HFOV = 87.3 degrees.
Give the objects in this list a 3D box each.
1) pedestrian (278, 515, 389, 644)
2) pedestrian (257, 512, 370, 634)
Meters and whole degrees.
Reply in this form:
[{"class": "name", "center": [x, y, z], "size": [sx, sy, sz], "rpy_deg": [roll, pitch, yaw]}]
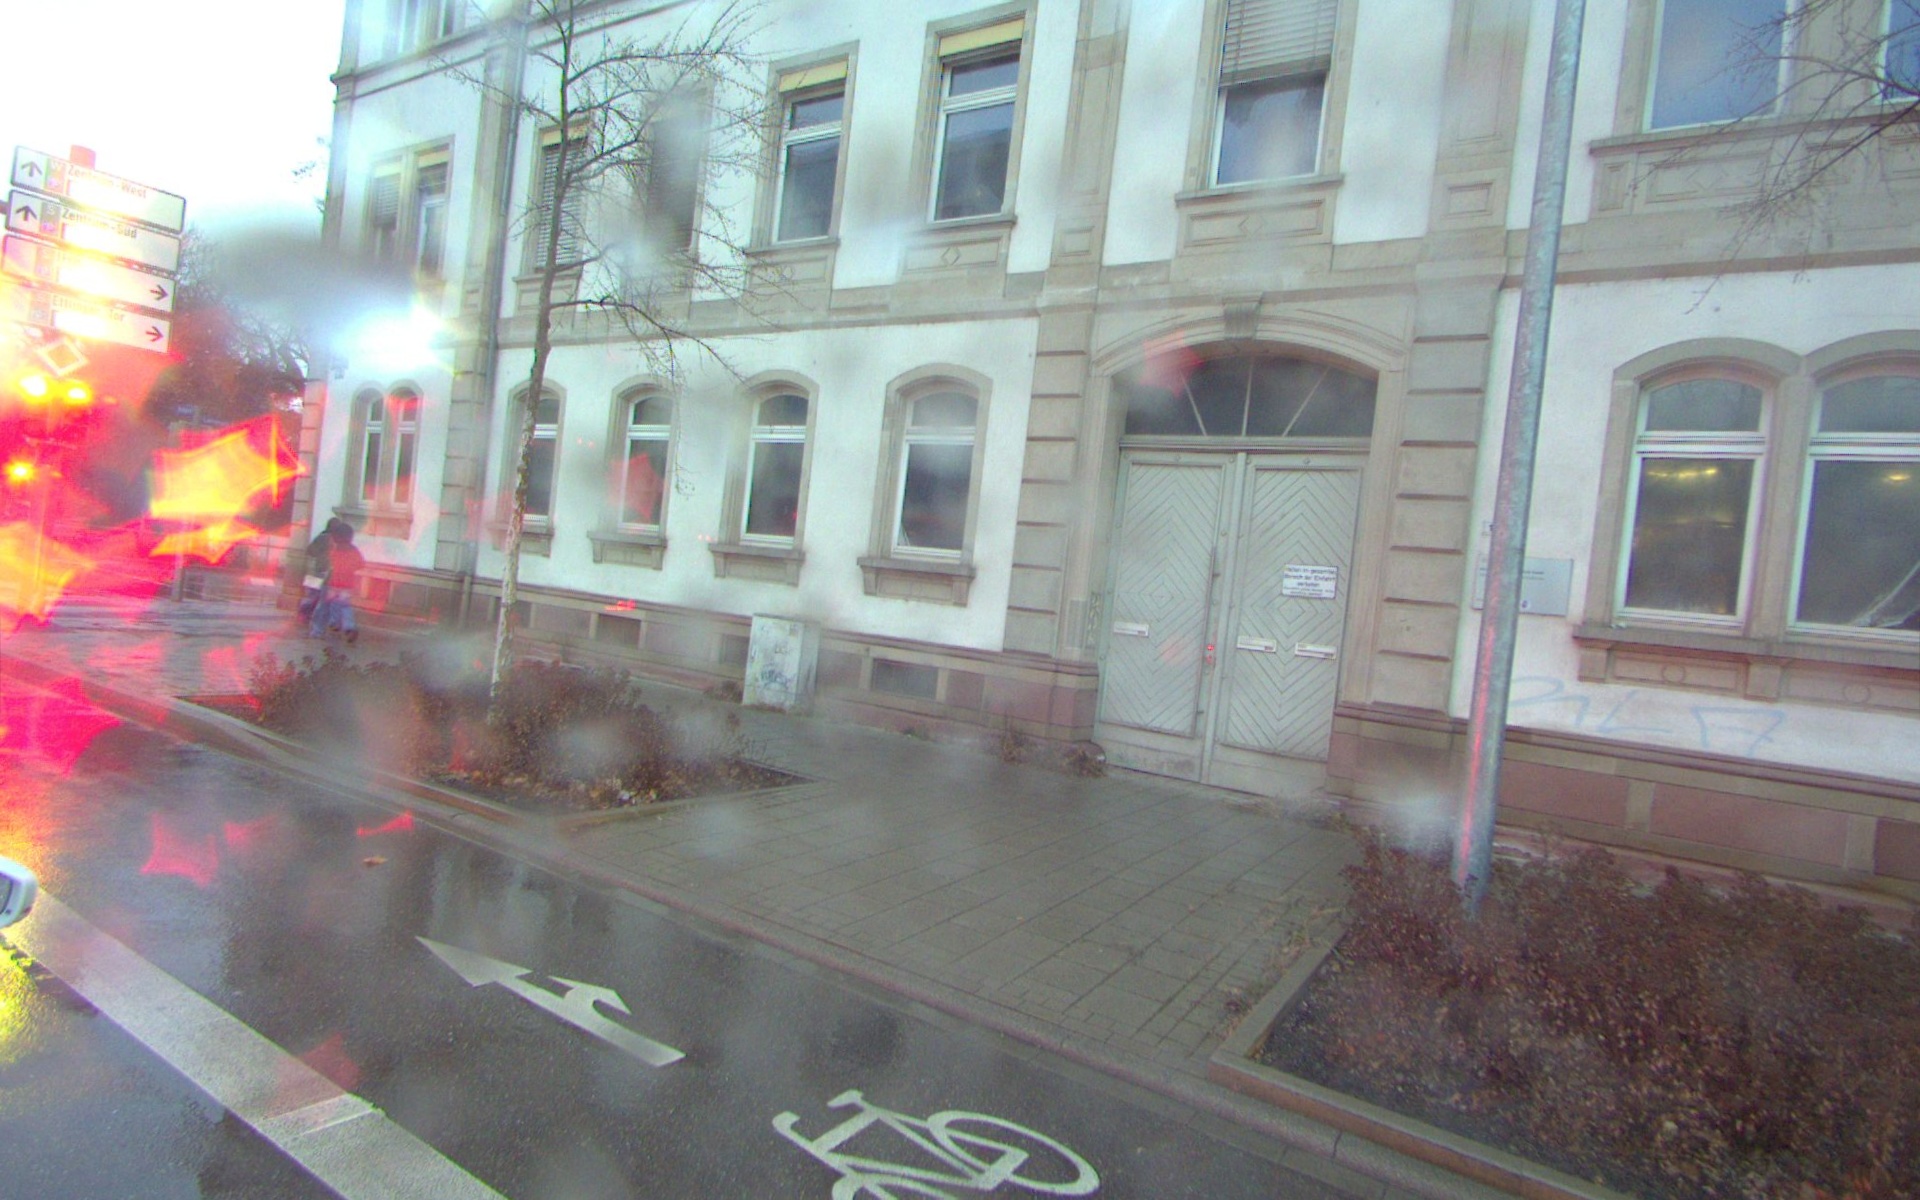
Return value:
[{"class": "pedestrian", "center": [-8.502, -0.272, 13.657], "size": [0.995, 1.597, 0.782], "rpy_deg": [6, -1, 34]}, {"class": "pedestrian", "center": [-9.623, -0.387, 14.996], "size": [0.992, 1.651, 0.785], "rpy_deg": [7, -1, 13]}]
